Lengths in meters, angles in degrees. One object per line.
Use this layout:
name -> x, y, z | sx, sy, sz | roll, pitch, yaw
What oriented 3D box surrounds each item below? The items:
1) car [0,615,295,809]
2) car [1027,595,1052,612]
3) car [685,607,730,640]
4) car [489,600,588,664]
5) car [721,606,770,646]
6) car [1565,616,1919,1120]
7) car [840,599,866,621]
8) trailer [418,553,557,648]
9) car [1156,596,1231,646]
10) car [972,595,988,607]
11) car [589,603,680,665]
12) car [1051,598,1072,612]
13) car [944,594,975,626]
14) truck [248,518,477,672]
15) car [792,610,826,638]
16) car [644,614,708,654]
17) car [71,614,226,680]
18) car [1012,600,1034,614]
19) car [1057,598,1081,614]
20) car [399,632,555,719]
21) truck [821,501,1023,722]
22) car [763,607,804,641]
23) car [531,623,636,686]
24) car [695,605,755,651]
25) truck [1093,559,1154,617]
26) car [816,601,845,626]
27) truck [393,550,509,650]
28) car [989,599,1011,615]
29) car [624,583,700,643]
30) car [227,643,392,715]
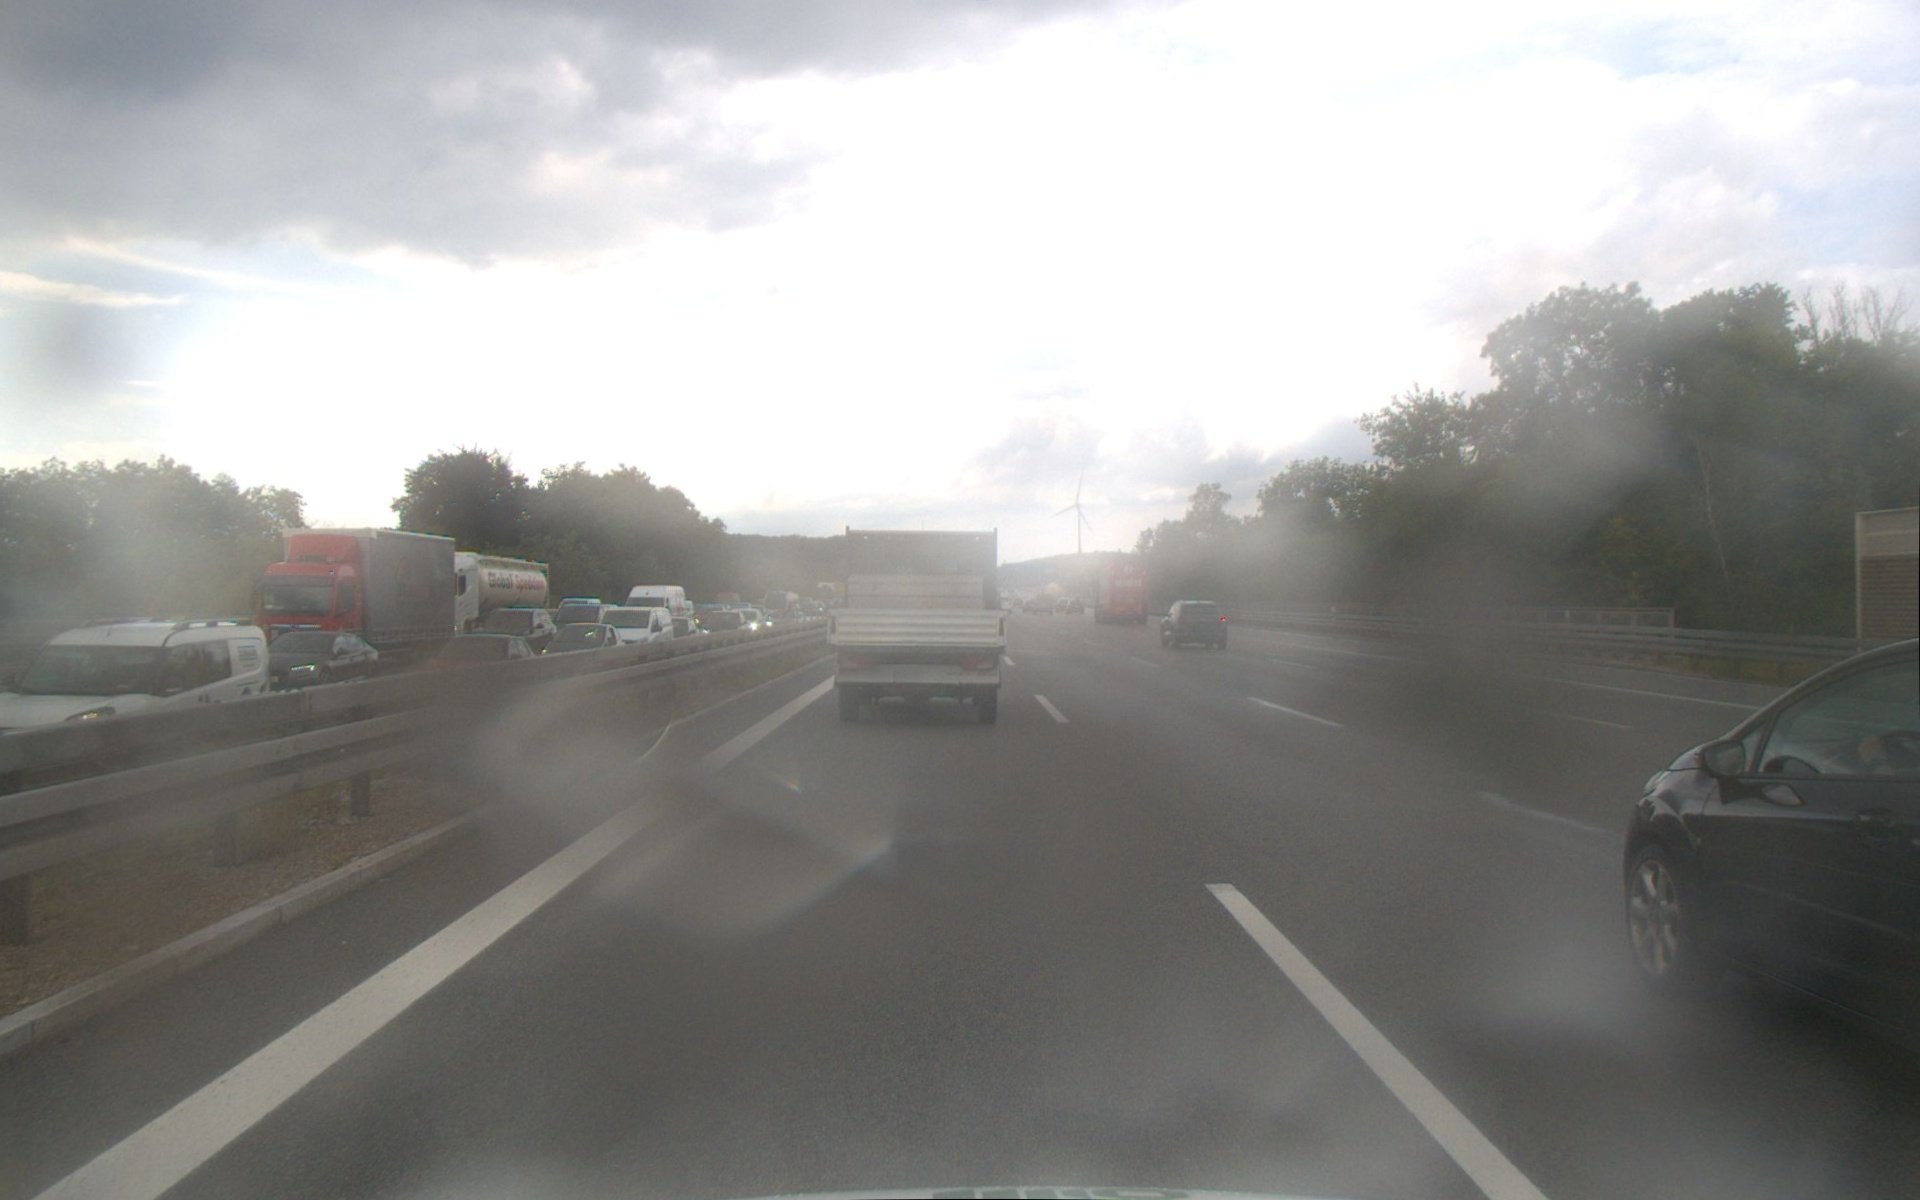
car -> -9.984, 1.207, 20.083 | 1.781, 1.986, 5.222 | -1, 0, -1
car -> 7.706, 0.363, 160.989 | 1.929, 1.588, 4.430 | -1, 0, -3
car -> -14.272, 1.310, 93.786 | 1.855, 1.832, 4.595 | -1, 0, 0
car -> -13.896, 1.016, 54.805 | 1.855, 1.996, 5.587 | -1, 0, 0
car -> -10.285, 1.224, 79.650 | 1.855, 1.832, 4.595 | -1, 0, -1
car -> 3.595, 0.778, 5.277 | 1.682, 1.442, 4.277 | 0, -1, -1
car -> -9.018, 0.816, 139.748 | 1.855, 1.832, 4.595 | -1, 0, 0
trailer -> -22.122, 0.006, 78.436 | 2.946, 4.103, 13.136 | -1, 0, -1
car -> 7.675, 0.672, 54.729 | 1.844, 1.569, 4.433 | -1, 0, 0
car -> 2.808, 0.129, 228.838 | 1.929, 1.588, 4.430 | -1, 0, -3
car -> -10.254, 1.025, 52.512 | 1.855, 1.832, 5.840 | -1, 0, -1
car -> 11.821, 0.605, 193.604 | 1.929, 1.588, 4.430 | -1, 0, -3
car -> -0.036, 0.512, 91.828 | 1.682, 1.652, 4.278 | 0, 1, 0
truck -> -18.111, -0.139, 51.291 | 2.741, 4.184, 12.293 | -1, 0, -1
car -> -10.156, 1.590, 111.464 | 1.855, 1.832, 4.595 | -1, 0, 0
car -> -10.062, 1.190, 58.851 | 1.589, 1.320, 4.250 | -1, 0, -1
car -> -21.841, 1.226, 44.734 | 1.855, 1.621, 4.901 | -1, 0, -1
car -> 6.984, 0.777, 183.680 | 1.929, 1.588, 4.429 | -1, 0, -4
car -> 11.242, 0.597, 170.704 | 1.929, 1.588, 4.430 | -1, 0, -3
car -> -9.484, 1.444, 32.816 | 1.855, 1.486, 4.477 | -1, 0, -1
truck -> -0.569, 0.180, 22.250 | 2.260, 2.482, 7.144 | 0, -1, -2
car -> -10.147, 1.365, 95.133 | 1.855, 1.832, 4.595 | -1, 0, 0
car -> -9.965, 1.418, 44.128 | 1.855, 1.514, 4.477 | -1, 0, -1
car -> -10.018, 1.166, 70.832 | 1.855, 1.832, 5.569 | -1, 0, -1
truck -> 10.921, -0.848, 111.897 | 3.087, 3.664, 12.702 | 1, 1, 1
car -> -9.869, 1.011, 126.058 | 1.855, 1.832, 4.595 | -1, 0, 0
truck -> -22.050, -0.002, 71.963 | 2.962, 4.123, 6.533 | -1, 0, 0
car -> 4.080, 0.746, 168.907 | 1.929, 1.588, 4.430 | -1, 0, -3
car -> -13.997, 0.571, 78.123 | 2.083, 2.682, 7.609 | -1, 0, 1
car -> -14.047, 1.673, 36.001 | 1.855, 1.319, 4.579 | -1, 0, -1
